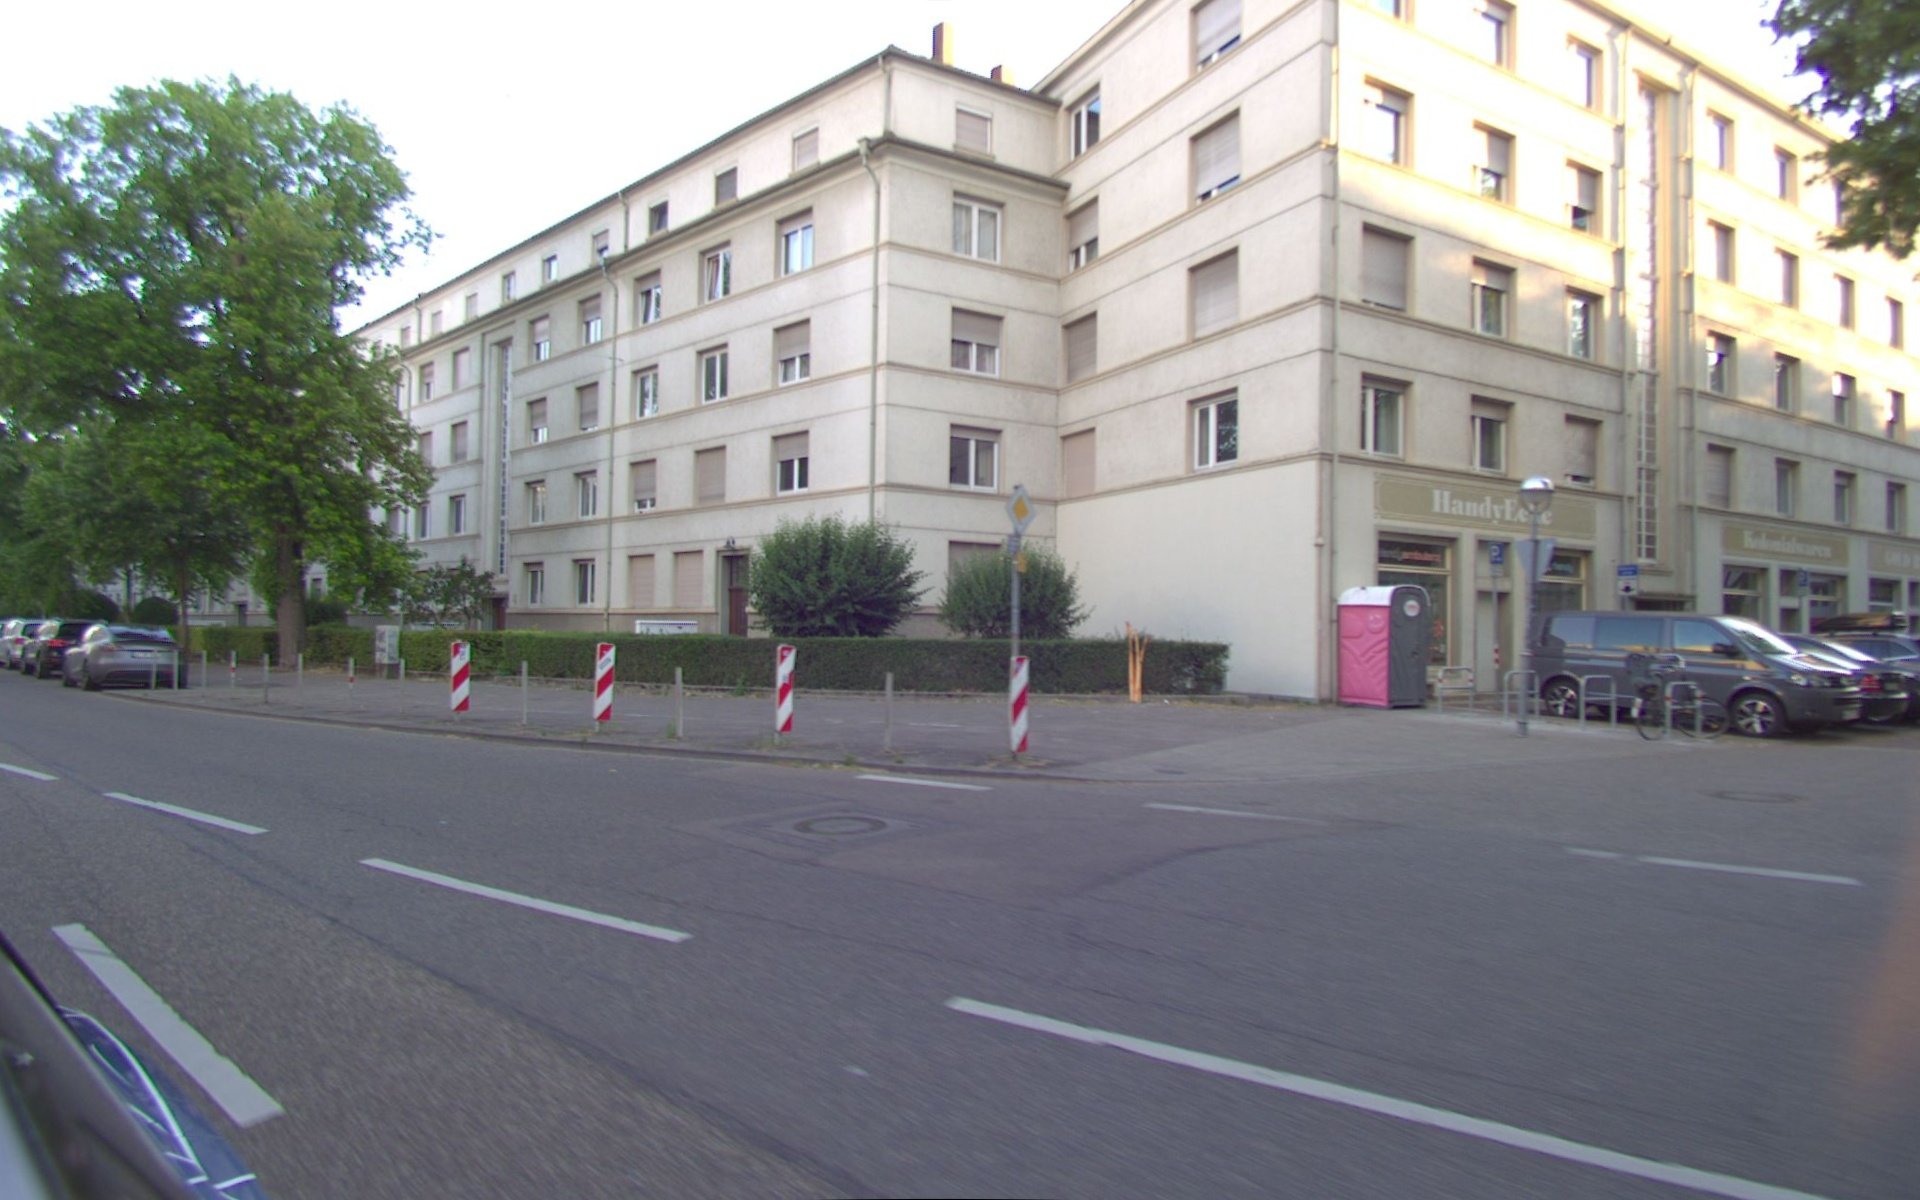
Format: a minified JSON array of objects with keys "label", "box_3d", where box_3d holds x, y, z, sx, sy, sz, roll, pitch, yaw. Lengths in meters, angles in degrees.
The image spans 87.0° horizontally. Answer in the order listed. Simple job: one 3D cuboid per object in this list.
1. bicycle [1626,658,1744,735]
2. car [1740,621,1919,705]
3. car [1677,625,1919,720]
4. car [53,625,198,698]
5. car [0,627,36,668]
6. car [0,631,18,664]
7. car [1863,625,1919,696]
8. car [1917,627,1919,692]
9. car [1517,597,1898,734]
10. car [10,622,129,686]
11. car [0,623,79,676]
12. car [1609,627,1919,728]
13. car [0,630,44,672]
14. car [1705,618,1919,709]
[{"label":"bicycle","box_3d":[10.580,1.388,14.765,1.793,1.050,0.481,1,-2,-22]},{"label":"car","box_3d":[20.741,1.381,23.024,1.898,1.763,4.352,1,-1,-30]},{"label":"car","box_3d":[16.779,1.319,19.536,2.014,1.608,4.352,1,-1,-30]},{"label":"car","box_3d":[-20.555,1.468,24.869,4.602,1.629,1.933,-1,-4,41]},{"label":"car","box_3d":[-39.911,1.940,42.041,4.115,1.613,1.689,-1,-6,41]},{"label":"car","box_3d":[-46.315,2.205,48.095,4.202,1.550,1.574,-1,-5,39]},{"label":"car","box_3d":[25.323,1.526,24.830,1.898,1.763,4.352,1,-1,-30]},{"label":"car","box_3d":[27.860,1.610,26.036,1.898,1.763,4.352,1,-1,-30]},{"label":"car","box_3d":[12.474,0.997,17.308,1.965,1.988,4.862,1,-1,-29]},{"label":"car","box_3d":[-26.552,1.585,30.113,4.768,1.732,1.933,-1,-4,41]},{"label":"car","box_3d":[-32.253,1.695,35.008,4.854,1.704,1.828,-1,-4,40]},{"label":"car","box_3d":[14.597,1.292,18.361,1.898,1.550,4.352,1,-1,-30]},{"label":"car","box_3d":[-36.202,1.901,38.518,1.712,1.508,4.273,5,-5,-44]},{"label":"car","box_3d":[18.704,1.277,21.410,1.898,1.763,4.352,1,-1,-30]}]
